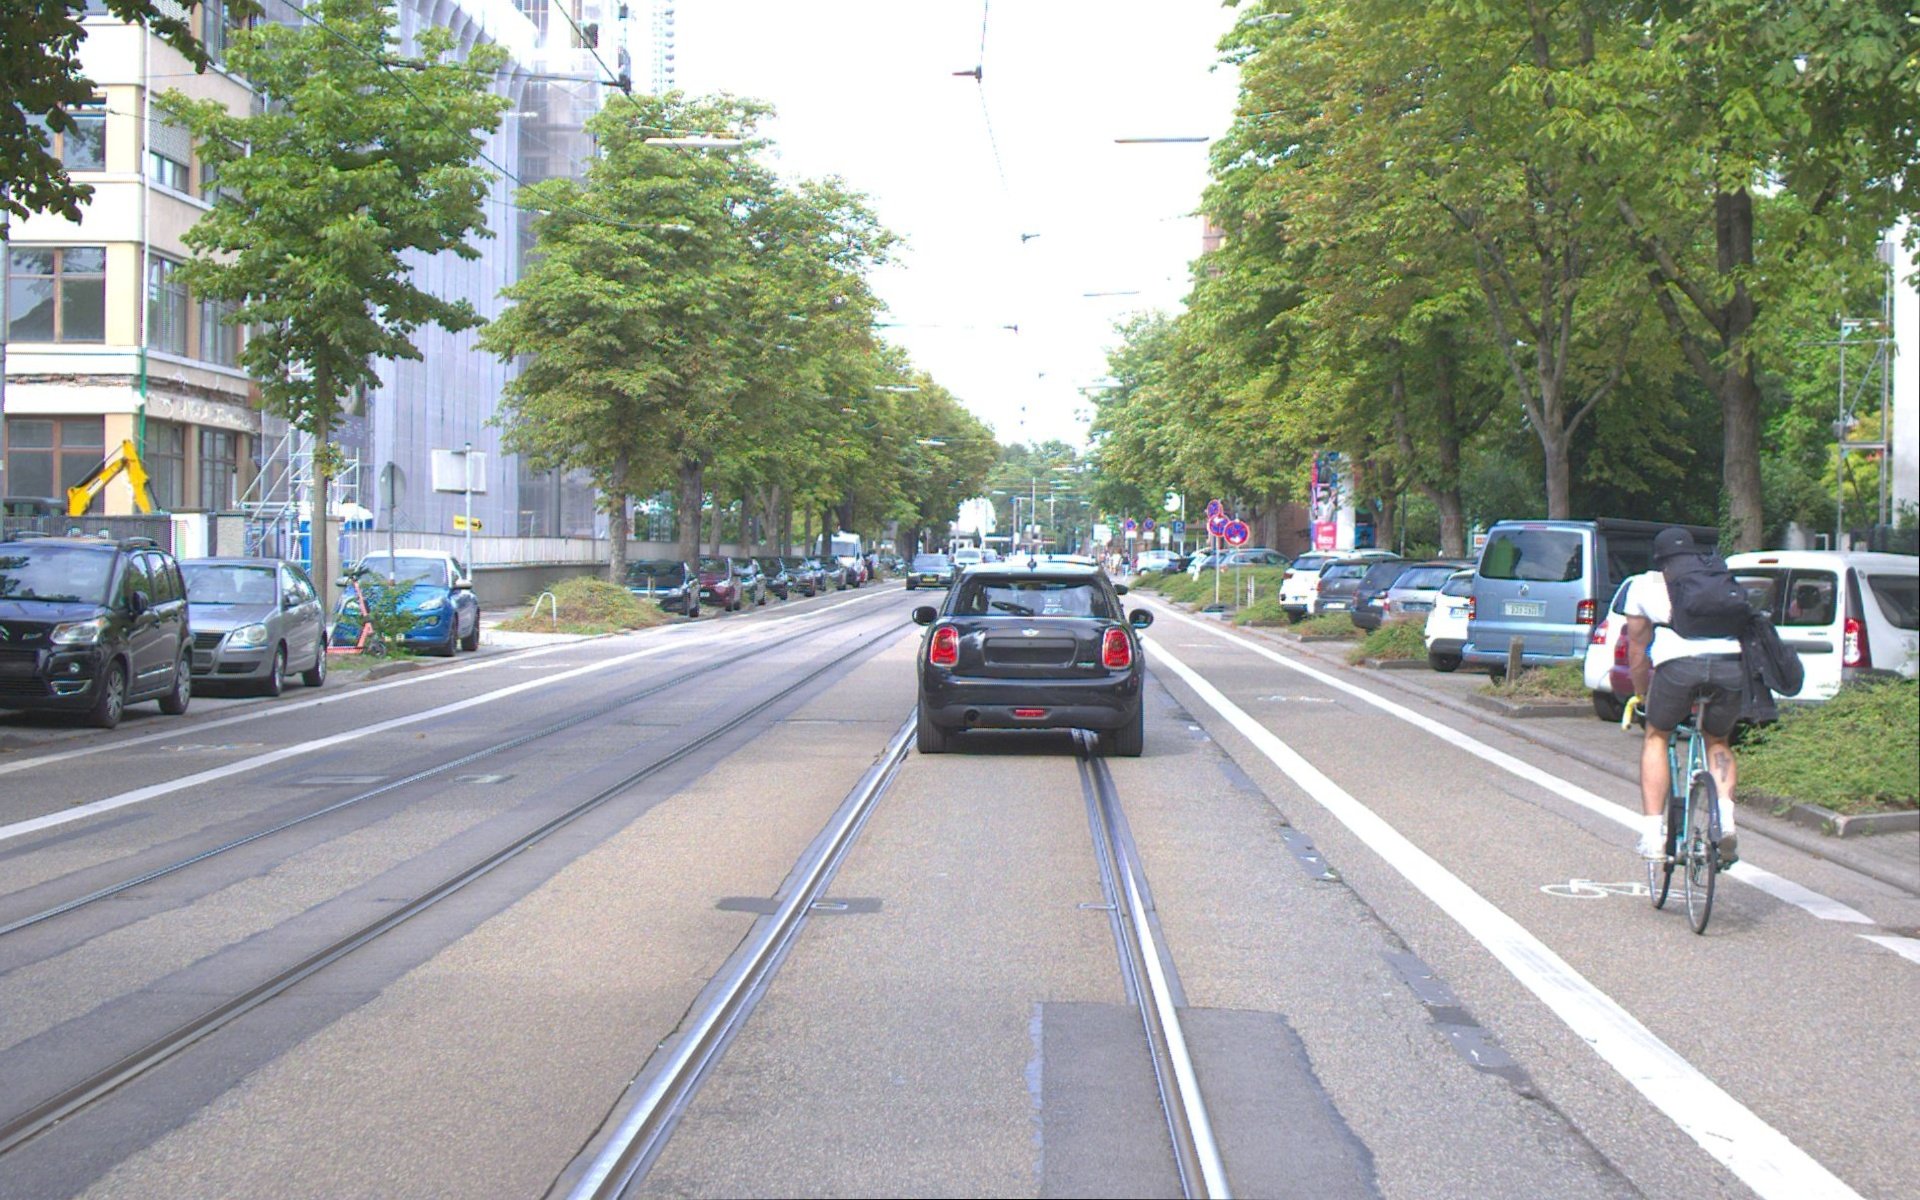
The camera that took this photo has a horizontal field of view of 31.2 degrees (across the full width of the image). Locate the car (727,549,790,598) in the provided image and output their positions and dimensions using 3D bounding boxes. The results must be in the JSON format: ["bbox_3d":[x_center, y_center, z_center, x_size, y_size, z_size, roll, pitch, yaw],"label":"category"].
[{"bbox_3d":[-6.623,-0.883,113.289,1.802,1.578,4.031,0,1,1],"label":"car"}]

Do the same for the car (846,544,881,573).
[{"bbox_3d":[-5.276,-2.280,188.439,1.802,1.578,4.031,0,1,1],"label":"car"}]

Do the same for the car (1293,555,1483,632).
[{"bbox_3d":[8.345,-0.128,66.908,3.524,1.437,1.623,0,1,-37],"label":"car"}]

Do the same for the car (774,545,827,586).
[{"bbox_3d":[-6.130,-1.337,132.679,1.802,1.578,4.031,0,1,1],"label":"car"}]

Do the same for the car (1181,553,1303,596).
[{"bbox_3d":[9.720,-0.882,118.636,3.986,1.420,1.885,1,1,-2],"label":"car"}]

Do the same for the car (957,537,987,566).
[{"bbox_3d":[0.770,-3.013,214.873,1.802,1.817,4.484,0,1,1],"label":"car"}]

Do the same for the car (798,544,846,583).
[{"bbox_3d":[-5.787,-1.536,144.079,1.802,1.578,4.031,0,1,1],"label":"car"}]

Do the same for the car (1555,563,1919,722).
[{"bbox_3d":[7.600,0.401,33.363,3.706,1.428,1.688,1,1,-44],"label":"car"}]

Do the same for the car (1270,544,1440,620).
[{"bbox_3d":[8.372,-0.374,72.724,3.437,1.567,1.560,0,1,-37],"label":"car"}]

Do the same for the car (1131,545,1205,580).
[{"bbox_3d":[11.814,-2.134,195.819,3.986,1.904,2.000,2,1,-1],"label":"car"}]

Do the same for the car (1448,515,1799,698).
[{"bbox_3d":[7.747,0.073,39.954,4.264,2.008,1.830,1,1,-44],"label":"car"}]

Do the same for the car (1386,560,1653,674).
[{"bbox_3d":[7.608,0.228,46.546,1.639,1.455,3.819,2,1,44],"label":"car"}]

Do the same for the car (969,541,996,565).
[{"bbox_3d":[1.563,-3.167,233.791,1.802,1.616,4.484,0,1,1],"label":"car"}]

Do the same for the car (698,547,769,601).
[{"bbox_3d":[-6.756,-0.795,102.759,1.802,1.578,4.031,0,1,1],"label":"car"}]

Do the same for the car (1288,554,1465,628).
[{"bbox_3d":[8.484,-0.181,69.901,3.437,1.437,1.560,0,1,-37],"label":"car"}]

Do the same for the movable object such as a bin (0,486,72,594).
[{"bbox_3d":[-18.587,-1.177,66.902,1.986,2.060,1.960,1,1,4],"label":"movable object such as a bin"}]

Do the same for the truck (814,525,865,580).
[{"bbox_3d":[-5.493,-2.187,157.173,2.071,2.462,4.899,0,1,1],"label":"truck"}]

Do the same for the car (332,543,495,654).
[{"bbox_3d":[-7.848,-0.049,49.626,1.693,1.482,3.677,2,1,1],"label":"car"}]

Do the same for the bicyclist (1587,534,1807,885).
[{"bbox_3d":[3.201,0.450,15.020,0.657,1.458,1.178,2,1,0],"label":"bicyclist"}]

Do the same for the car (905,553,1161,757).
[{"bbox_3d":[0.500,0.374,26.860,1.793,1.418,4.000,2,1,-1],"label":"car"}]

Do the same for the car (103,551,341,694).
[{"bbox_3d":[-7.969,0.202,37.441,1.693,1.422,3.868,2,1,1],"label":"car"}]

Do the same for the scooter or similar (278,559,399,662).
[{"bbox_3d":[-8.191,0.133,45.336,1.444,1.339,0.700,0,1,3],"label":"scooter or similar"}]

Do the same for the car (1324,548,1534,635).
[{"bbox_3d":[8.216,-0.138,60.064,3.729,1.454,1.640,1,1,-44],"label":"car"}]

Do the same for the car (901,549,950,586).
[{"bbox_3d":[-1.368,-1.310,136.807,1.835,1.443,4.553,1,1,1],"label":"car"}]

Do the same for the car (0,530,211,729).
[{"bbox_3d":[-8.099,0.210,30.949,1.756,1.641,4.052,2,1,1],"label":"car"}]

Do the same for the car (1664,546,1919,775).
[{"bbox_3d":[7.488,0.455,27.257,4.097,1.662,1.688,1,1,-44],"label":"car"}]

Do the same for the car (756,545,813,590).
[{"bbox_3d":[-6.285,-1.179,123.451,1.802,1.578,4.031,0,1,1],"label":"car"}]

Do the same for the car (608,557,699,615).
[{"bbox_3d":[-7.383,-0.348,83.165,1.802,1.369,4.031,0,1,1],"label":"car"}]

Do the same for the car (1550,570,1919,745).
[{"bbox_3d":[7.174,0.494,30.445,3.964,1.428,1.689,1,1,-41],"label":"car"}]

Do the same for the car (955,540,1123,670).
[{"bbox_3d":[0.936,0.026,42.835,1.793,1.465,4.000,3,1,-2],"label":"car"}]

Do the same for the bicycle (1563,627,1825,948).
[{"bbox_3d":[3.194,0.777,15.150,0.657,1.244,2.125,2,1,0],"label":"bicycle"}]

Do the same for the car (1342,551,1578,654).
[{"bbox_3d":[7.776,0.046,53.280,3.729,1.517,1.640,1,1,-44],"label":"car"}]

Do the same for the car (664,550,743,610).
[{"bbox_3d":[-6.991,-0.563,93.893,1.802,1.578,4.031,0,1,1],"label":"car"}]
